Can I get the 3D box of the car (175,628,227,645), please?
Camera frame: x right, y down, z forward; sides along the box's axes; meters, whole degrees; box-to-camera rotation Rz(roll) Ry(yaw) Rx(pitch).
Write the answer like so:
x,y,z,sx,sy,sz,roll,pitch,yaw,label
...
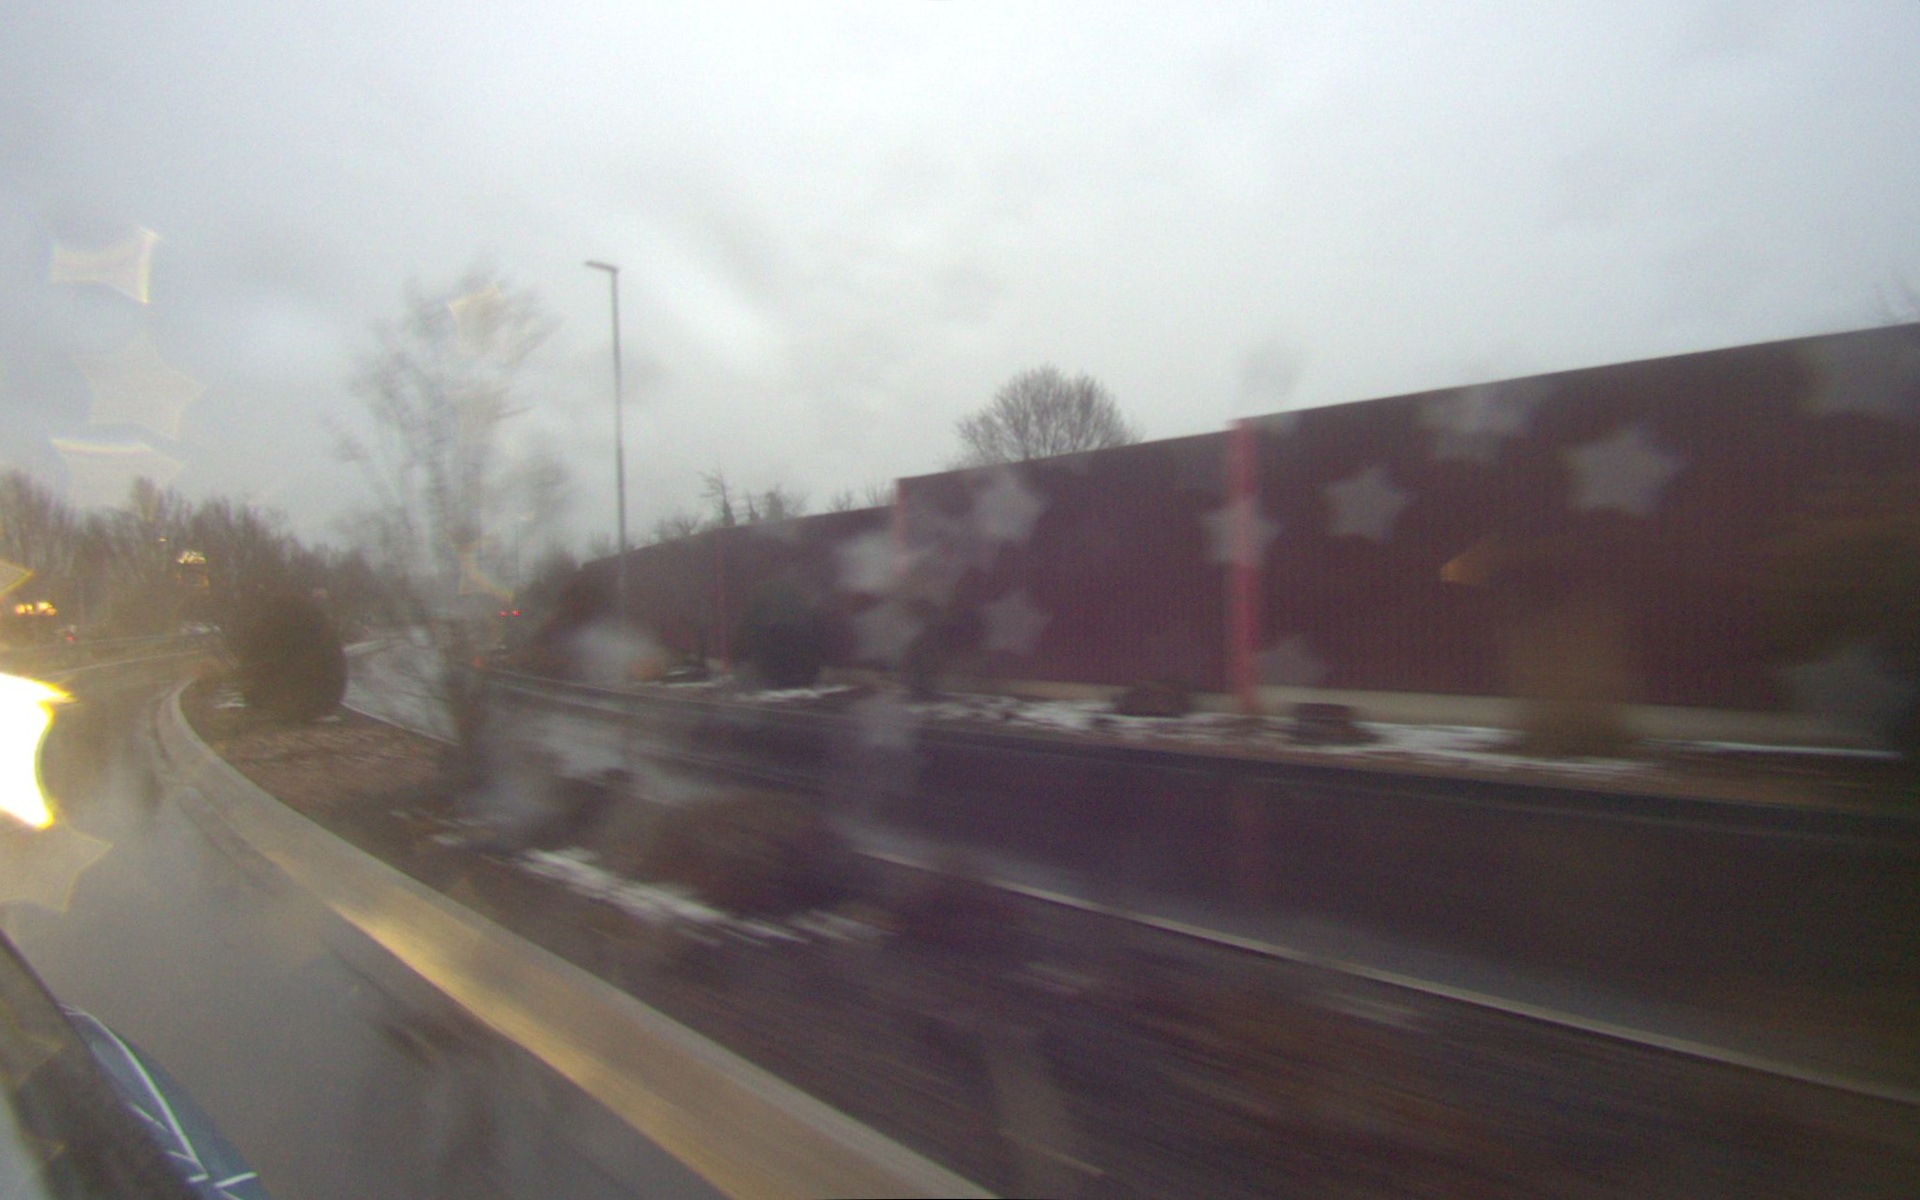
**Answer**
x,y,z,sx,sy,sz,roll,pitch,yaw,label
-75.829,3.652,101.143,3.945,1.609,1.812,0,0,-31,car
